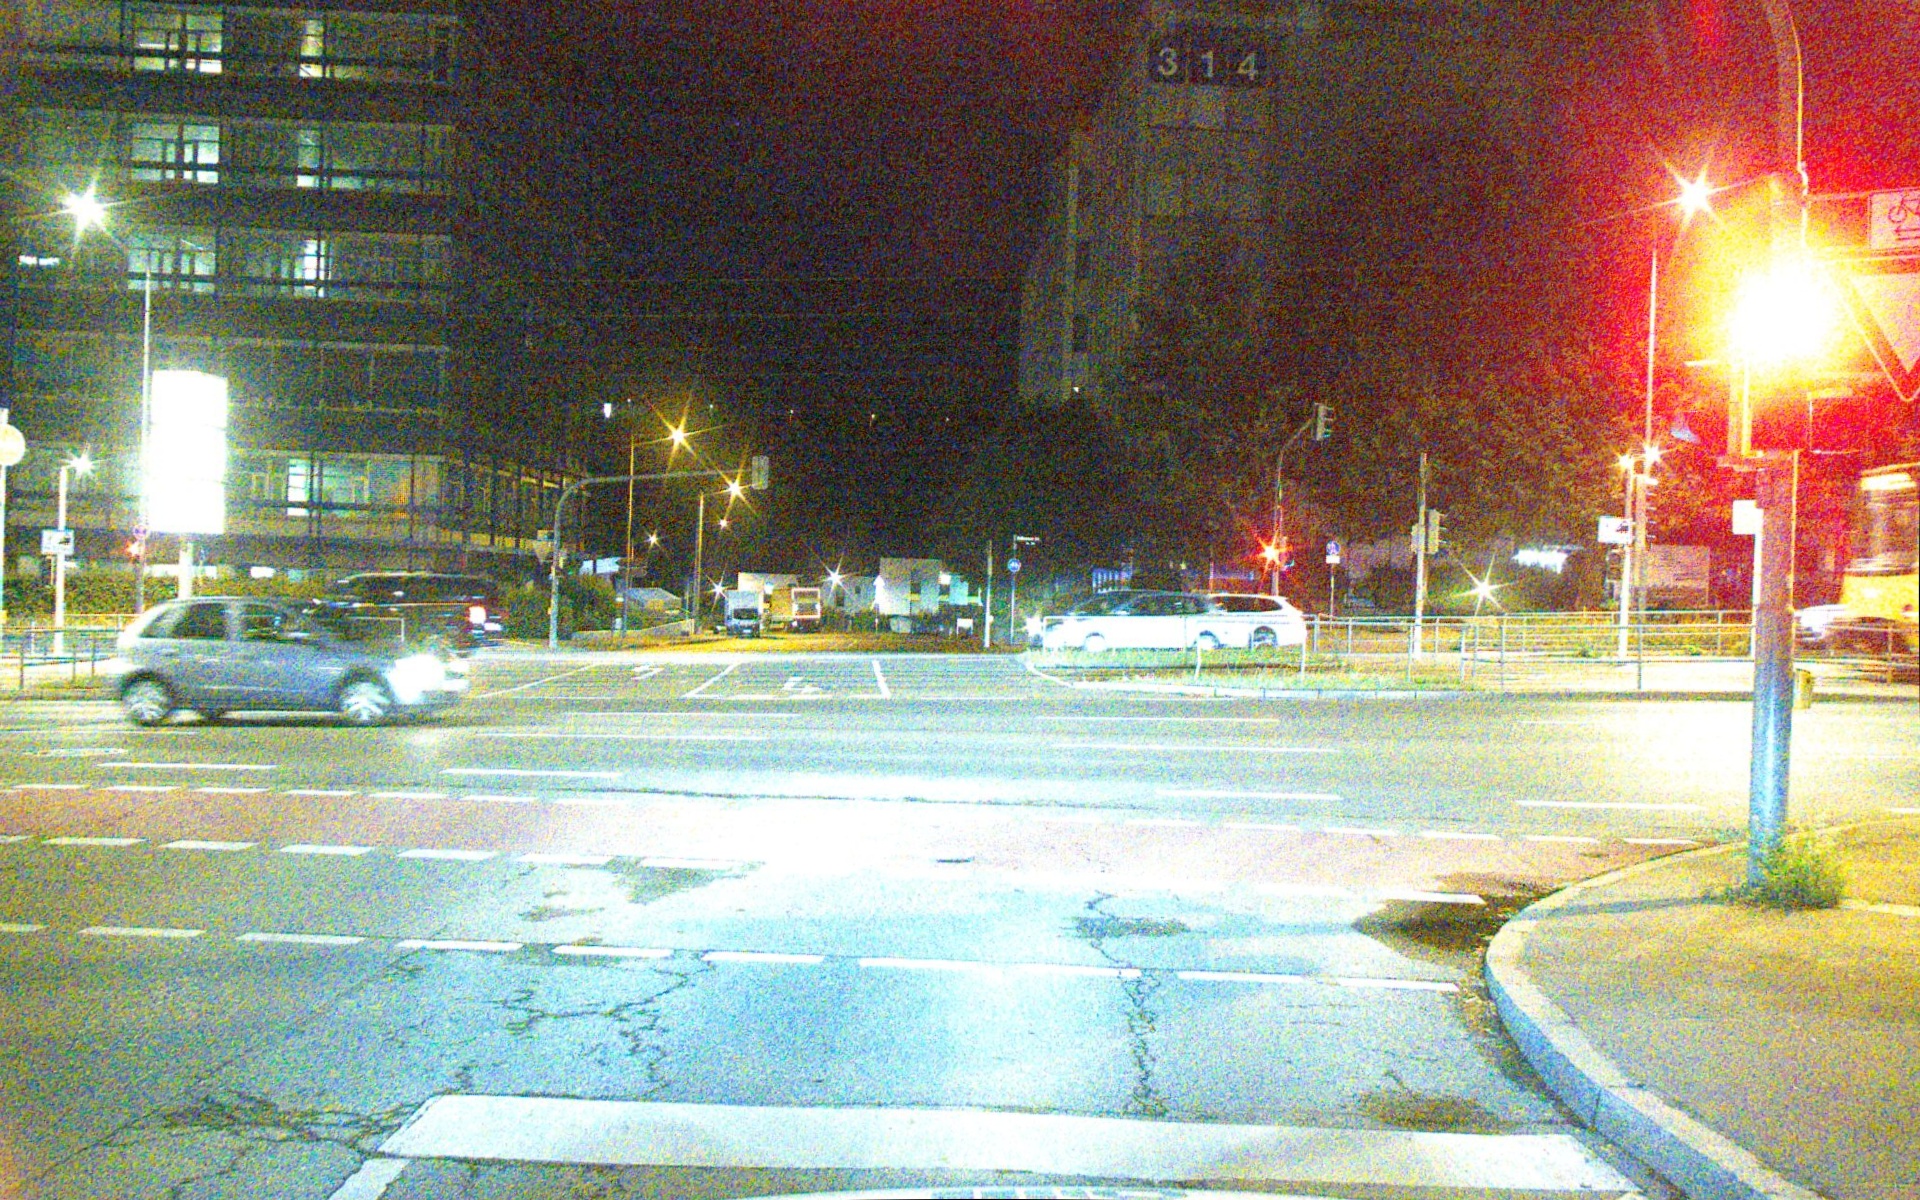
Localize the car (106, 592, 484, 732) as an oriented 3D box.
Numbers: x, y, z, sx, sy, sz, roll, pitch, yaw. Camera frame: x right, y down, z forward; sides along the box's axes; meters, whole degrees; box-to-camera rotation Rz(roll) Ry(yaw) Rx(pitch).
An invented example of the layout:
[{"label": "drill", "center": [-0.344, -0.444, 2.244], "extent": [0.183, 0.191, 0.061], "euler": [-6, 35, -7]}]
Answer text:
[{"label": "car", "center": [-7.519, 0.680, 18.909], "extent": [3.610, 1.445, 1.643], "euler": [-1, 1, 3]}]

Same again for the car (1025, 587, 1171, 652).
[{"label": "car", "center": [3.620, 0.500, 43.294], "extent": [3.738, 1.660, 1.813], "euler": [0, 0, 5]}]

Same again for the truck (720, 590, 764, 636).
[{"label": "truck", "center": [-15.765, 0.946, 119.344], "extent": [2.377, 3.143, 6.414], "euler": [2, -1, -14]}]

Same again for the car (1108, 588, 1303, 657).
[{"label": "car", "center": [5.858, 0.530, 39.873], "extent": [4.479, 1.512, 1.779], "euler": [1, 0, 2]}]

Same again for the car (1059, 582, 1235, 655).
[{"label": "car", "center": [4.130, 0.415, 36.967], "extent": [3.755, 1.512, 1.869], "euler": [1, -1, 2]}]

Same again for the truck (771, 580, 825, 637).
[{"label": "truck", "center": [-14.621, 0.762, 148.594], "extent": [3.307, 4.927, 7.868], "euler": [2, -1, -17]}]

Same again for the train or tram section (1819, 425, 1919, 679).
[{"label": "train or tram section", "center": [23.753, -0.829, 26.607], "extent": [18.033, 3.916, 2.967], "euler": [0, 1, 3]}]

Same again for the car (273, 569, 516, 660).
[{"label": "car", "center": [-12.906, 0.333, 37.927], "extent": [4.840, 1.917, 1.869], "euler": [1, -1, 2]}]

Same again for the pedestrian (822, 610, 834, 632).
[{"label": "pedestrian", "center": [-11.761, 1.873, 147.306], "extent": [0.836, 1.945, 1.001], "euler": [2, -1, -18]}]
